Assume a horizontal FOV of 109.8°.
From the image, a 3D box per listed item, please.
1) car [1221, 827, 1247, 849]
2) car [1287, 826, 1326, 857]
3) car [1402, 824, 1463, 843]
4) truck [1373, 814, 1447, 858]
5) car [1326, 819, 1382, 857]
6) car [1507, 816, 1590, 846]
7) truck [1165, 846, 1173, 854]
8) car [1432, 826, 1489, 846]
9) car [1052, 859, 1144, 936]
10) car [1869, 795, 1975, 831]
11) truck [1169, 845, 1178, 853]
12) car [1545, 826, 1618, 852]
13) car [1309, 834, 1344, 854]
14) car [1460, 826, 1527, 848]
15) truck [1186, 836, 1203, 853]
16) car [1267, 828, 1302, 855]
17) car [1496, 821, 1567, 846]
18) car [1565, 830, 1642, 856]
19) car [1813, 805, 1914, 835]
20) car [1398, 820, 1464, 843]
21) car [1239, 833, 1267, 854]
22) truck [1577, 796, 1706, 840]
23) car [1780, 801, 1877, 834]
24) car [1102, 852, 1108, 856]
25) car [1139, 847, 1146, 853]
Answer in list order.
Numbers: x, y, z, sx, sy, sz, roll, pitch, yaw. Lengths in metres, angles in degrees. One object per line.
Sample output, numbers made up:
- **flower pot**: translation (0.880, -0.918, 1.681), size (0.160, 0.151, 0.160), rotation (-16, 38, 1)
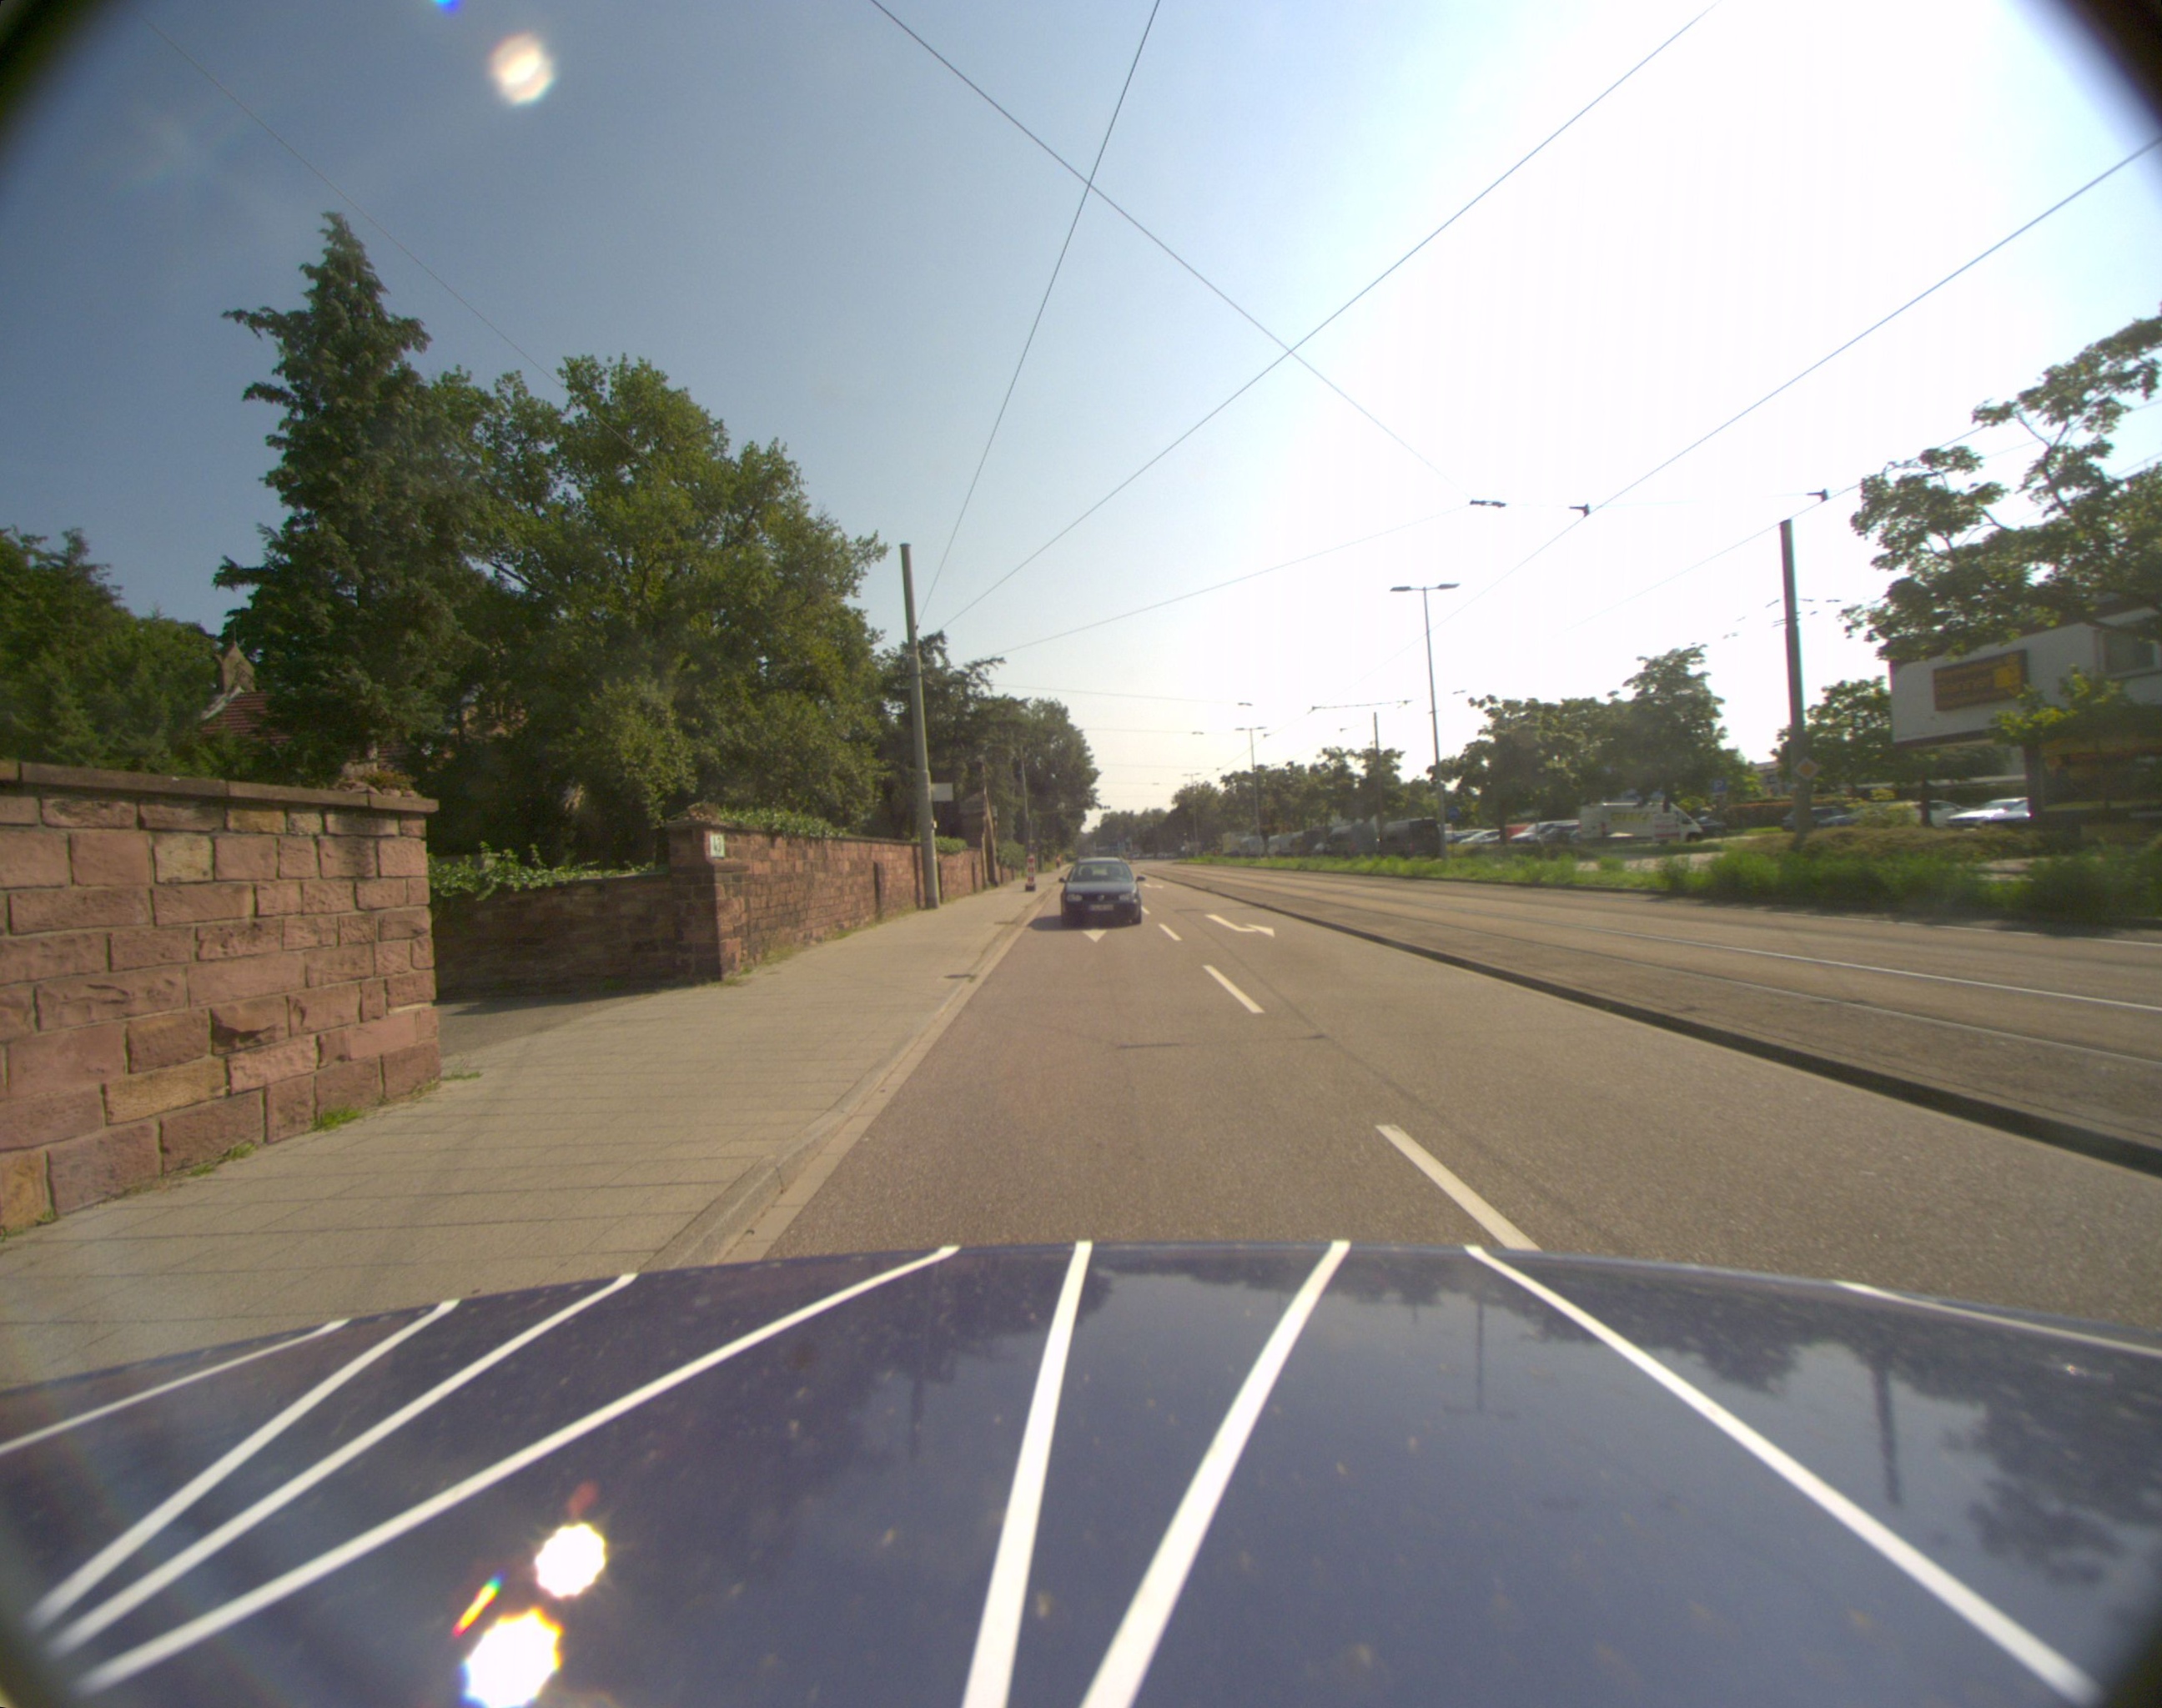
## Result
- **car**: translation (20.523, -2.112, 102.187), size (2.130, 2.789, 7.231), rotation (-2, 1, 1)
- **car**: translation (20.680, -1.088, 69.930), size (1.826, 2.571, 5.910), rotation (-5, 0, 2)
- **car**: translation (31.586, -1.838, 68.372), size (4.665, 1.441, 1.633), rotation (-2, 1, -1)
- **truck**: translation (20.485, -1.099, 47.679), size (2.086, 2.533, 5.738), rotation (-2, 1, 0)
- **car**: translation (20.562, -1.169, 57.618), size (1.993, 2.571, 6.467), rotation (-5, 0, 3)
- **car**: translation (30.708, -1.498, 49.961), size (4.410, 1.774, 1.633), rotation (-2, 1, -1)
- **truck**: translation (21.515, -0.974, 185.925), size (1.691, 1.665, 3.655), rotation (-2, 1, 1)
- **car**: translation (31.471, -1.491, 63.069), size (3.933, 1.441, 1.633), rotation (-2, 1, -1)
- **car**: translation (0.398, 0.865, 16.917), size (1.776, 1.416, 3.935), rotation (-2, 1, 2)
- **car**: translation (43.597, -2.105, 39.430), size (3.456, 1.494, 1.875), rotation (-5, 2, -2)
- **truck**: translation (21.464, -1.165, 175.820), size (1.691, 1.665, 3.655), rotation (-2, 1, 1)
- **car**: translation (30.865, -0.911, 46.947), size (3.413, 1.418, 1.633), rotation (-2, 1, -1)
- **car**: translation (20.624, -0.829, 63.951), size (1.748, 1.543, 3.834), rotation (-4, 0, 3)
- **car**: translation (31.310, -1.261, 57.756), size (4.168, 1.455, 1.624), rotation (-3, 0, -3)
- **truck**: translation (21.612, -1.758, 145.340), size (2.278, 3.103, 8.788), rotation (-2, 0, 3)
- **car**: translation (20.784, -1.239, 77.976), size (2.137, 2.571, 5.630), rotation (-2, 1, 1)
- **car**: translation (31.291, -1.409, 52.789), size (3.933, 1.510, 1.633), rotation (-2, 1, -1)
- **car**: translation (30.881, -0.645, 44.927), size (3.413, 1.418, 1.633), rotation (-2, 1, -1)
- **car**: translation (43.224, -1.859, 42.046), size (3.713, 1.335, 1.491), rotation (-4, 0, 8)
- **car**: translation (32.863, -2.081, 71.471), size (5.198, 1.914, 2.052), rotation (-2, 1, -1)
- **car**: translation (20.892, -1.240, 92.433), size (2.148, 2.444, 4.831), rotation (-2, 1, -1)
- **truck**: translation (31.146, -1.976, 42.355), size (5.504, 2.160, 2.259), rotation (-2, 1, -1)
- **car**: translation (44.269, -2.140, 45.072), size (3.811, 1.758, 1.759), rotation (-2, 1, 6)
- **car**: translation (7.655, 0.038, 243.984), size (1.726, 1.317, 4.000), rotation (-2, 0, 1)
- **car**: translation (16.759, -1.102, 206.963), size (1.929, 1.511, 3.949), rotation (-2, 1, 3)
